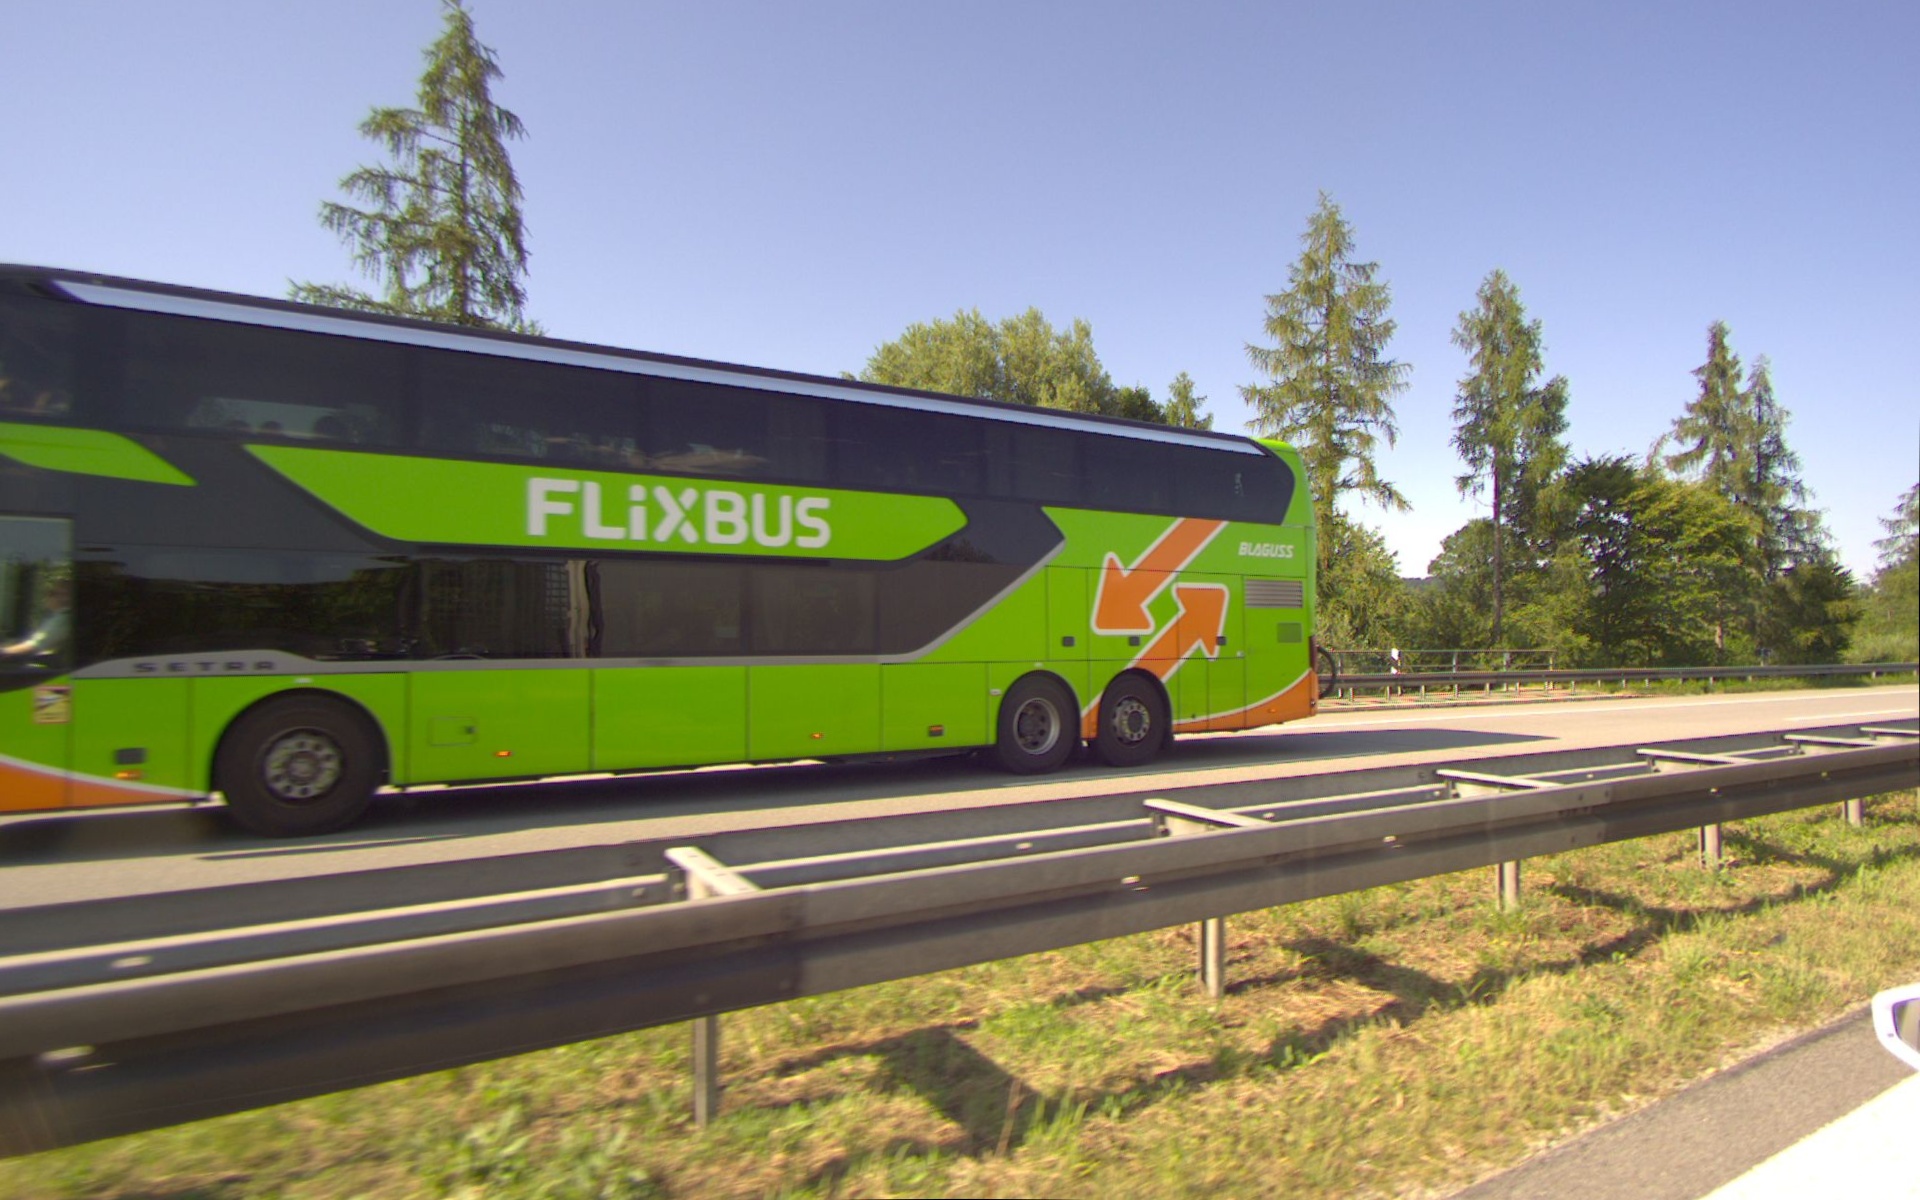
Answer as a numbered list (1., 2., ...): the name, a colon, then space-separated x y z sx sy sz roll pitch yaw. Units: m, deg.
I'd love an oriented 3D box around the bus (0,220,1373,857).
1. bus: -1.436 -0.223 11.015 14.498 4.107 2.922 1 -3 -31
